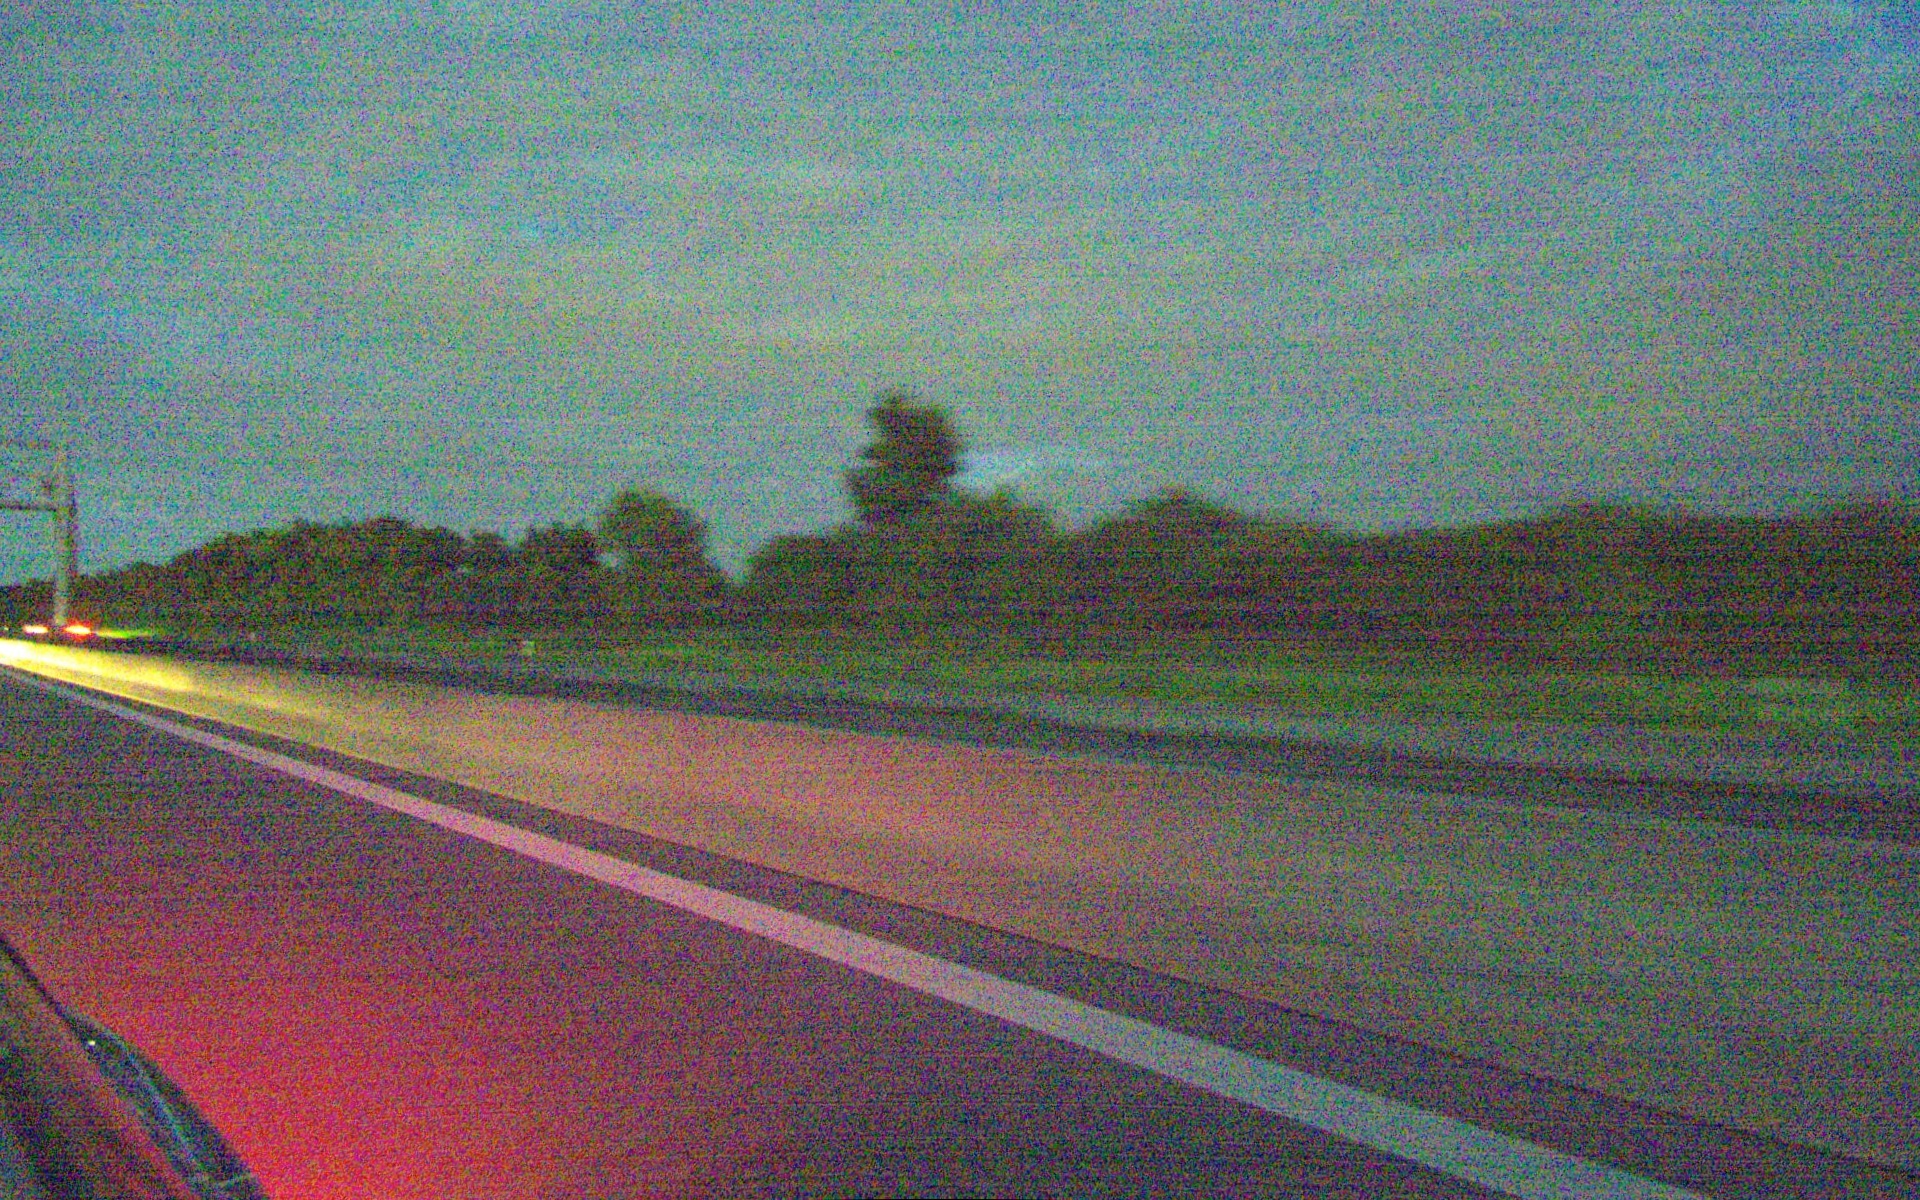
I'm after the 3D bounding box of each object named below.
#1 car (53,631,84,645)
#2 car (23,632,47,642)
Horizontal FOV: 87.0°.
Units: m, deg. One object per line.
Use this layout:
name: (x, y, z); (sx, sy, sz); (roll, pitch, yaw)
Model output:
car: (-96.609, 4.100, 109.689); (5.184, 1.549, 1.943); (-2, -3, 42)
car: (-122.939, 4.865, 134.503); (4.349, 1.292, 1.883); (-2, -3, 42)
